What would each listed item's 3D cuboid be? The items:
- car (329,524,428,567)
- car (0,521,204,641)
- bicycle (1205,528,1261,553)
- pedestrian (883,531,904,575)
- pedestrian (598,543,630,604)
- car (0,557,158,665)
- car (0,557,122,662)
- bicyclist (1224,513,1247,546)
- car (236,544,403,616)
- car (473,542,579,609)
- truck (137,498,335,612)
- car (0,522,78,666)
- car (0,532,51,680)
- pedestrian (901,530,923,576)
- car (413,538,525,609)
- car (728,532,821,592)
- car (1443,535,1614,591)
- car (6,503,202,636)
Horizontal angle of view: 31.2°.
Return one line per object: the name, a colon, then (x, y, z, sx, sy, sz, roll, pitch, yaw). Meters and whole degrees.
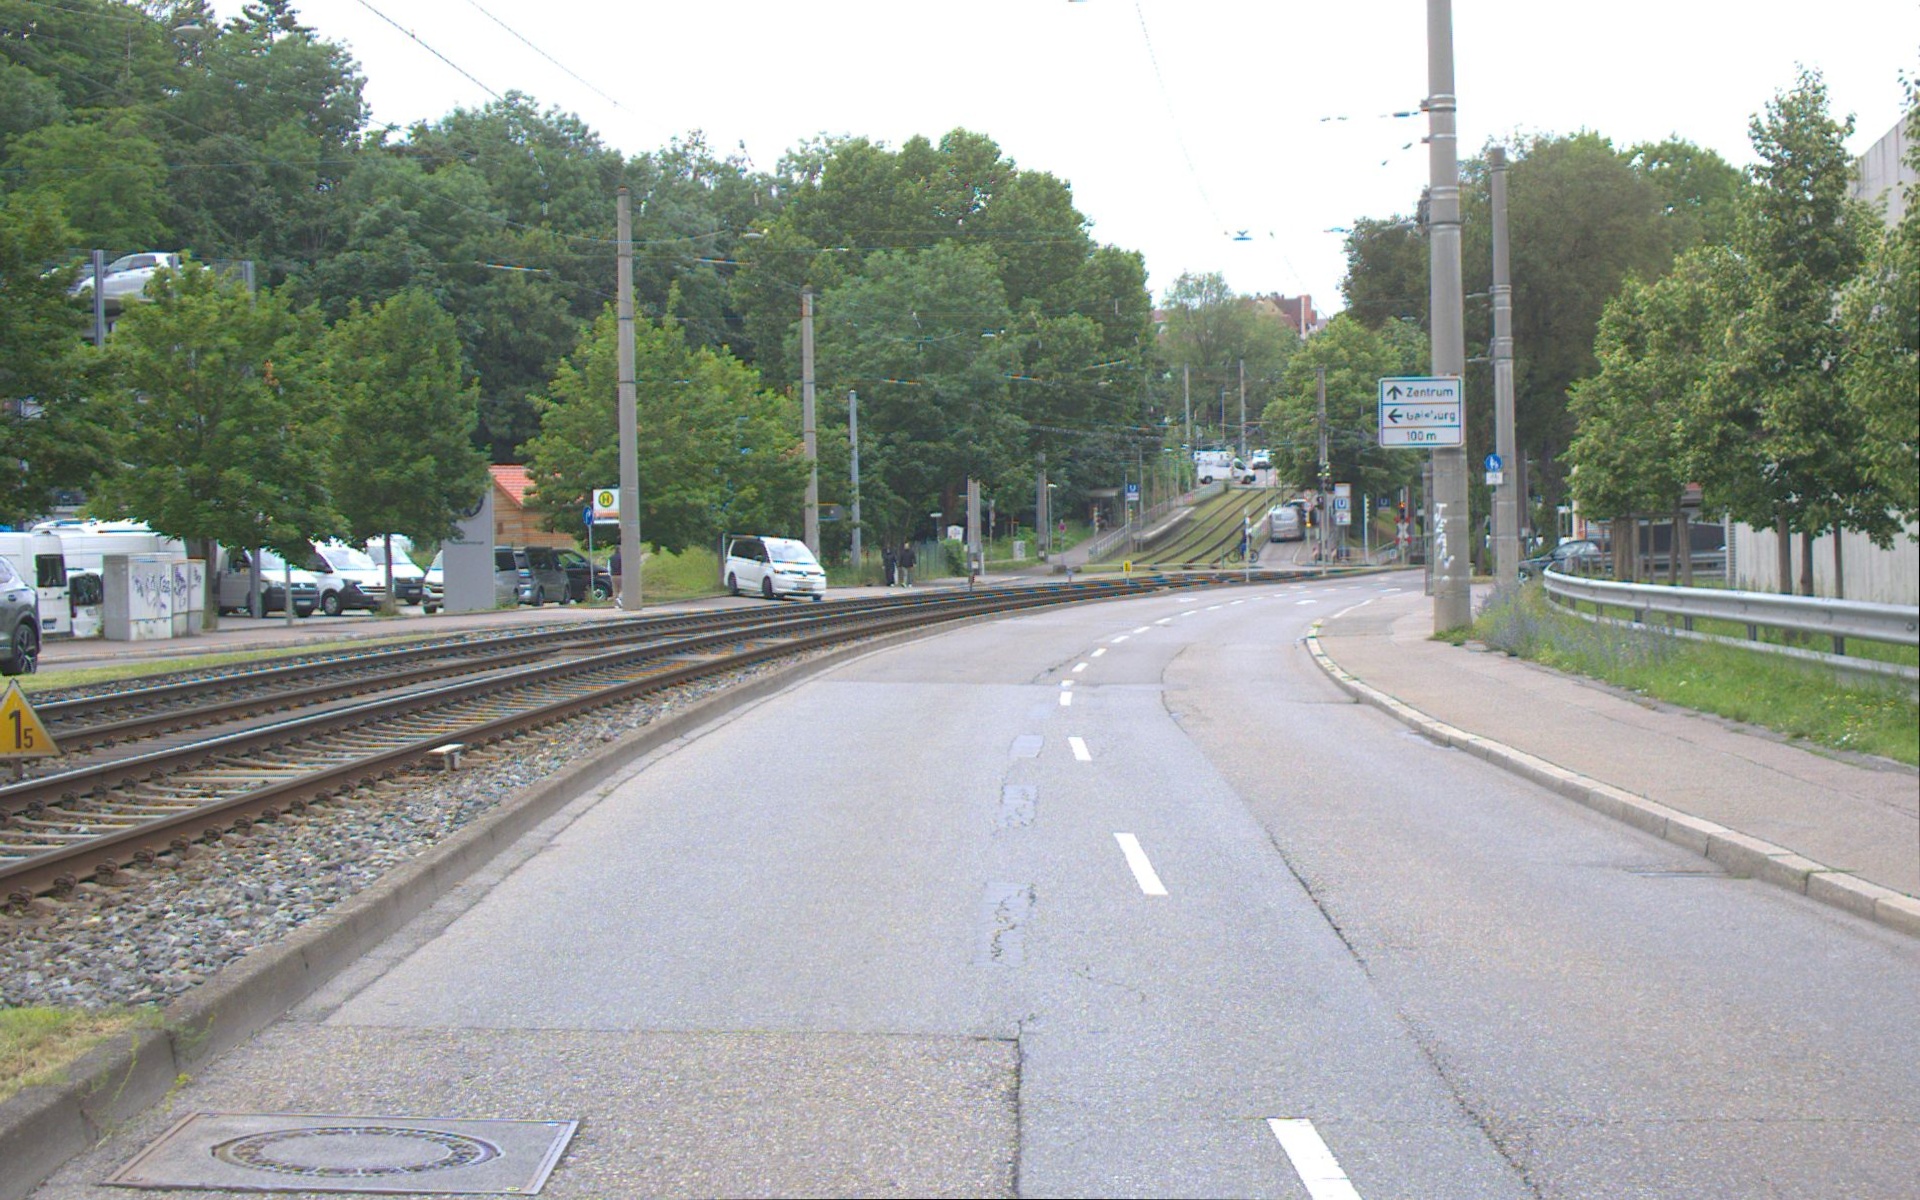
car: (-27.855, -2.606, 164.696, 1.998, 2.007, 4.393, 0, 1, 41)
car: (-19.835, -0.422, 76.391, 5.475, 2.593, 2.246, -1, 1, 10)
bicycle: (15.321, -3.350, 192.919, 2.986, 1.339, 0.827, -1, 1, -7)
pedestrian: (-2.631, -1.858, 135.772, 0.628, 1.707, 0.855, 1, 1, 12)
pedestrian: (-9.556, -0.745, 94.938, 0.718, 1.650, 1.042, 2, 1, 2)
car: (-19.633, 0.194, 73.515, 4.366, 2.098, 2.004, 3, 1, 6)
car: (-19.707, 0.200, 70.711, 4.366, 2.098, 2.004, -1, 1, 6)
bicyclist: (15.464, -3.956, 192.922, 1.048, 1.843, 0.824, -2, 1, -7)
car: (-18.323, -0.565, 98.309, 4.725, 2.007, 1.996, 0, 1, 37)
car: (-13.587, -0.799, 107.986, 1.994, 2.007, 5.128, -1, 1, 8)
truck: (-20.278, -1.243, 96.181, 5.932, 3.074, 2.115, 0, 1, 39)
car: (-20.058, -0.118, 68.493, 4.366, 2.809, 2.004, -1, 1, 6)
car: (-12.237, 0.115, 39.710, 1.994, 1.733, 4.533, -3, 0, 3)
pedestrian: (-1.889, -1.870, 135.746, 0.677, 1.807, 0.855, 1, 1, 12)
car: (-14.496, -0.805, 101.711, 1.994, 2.007, 4.918, -1, 1, 8)
car: (-6.143, -1.278, 113.188, 2.158, 1.881, 5.074, 1, 1, -13)
car: (15.362, -1.019, 93.000, 4.229, 1.438, 1.759, 1, 2, 39)
car: (-20.220, -0.755, 81.518, 2.109, 3.009, 5.934, -1, 1, 12)
